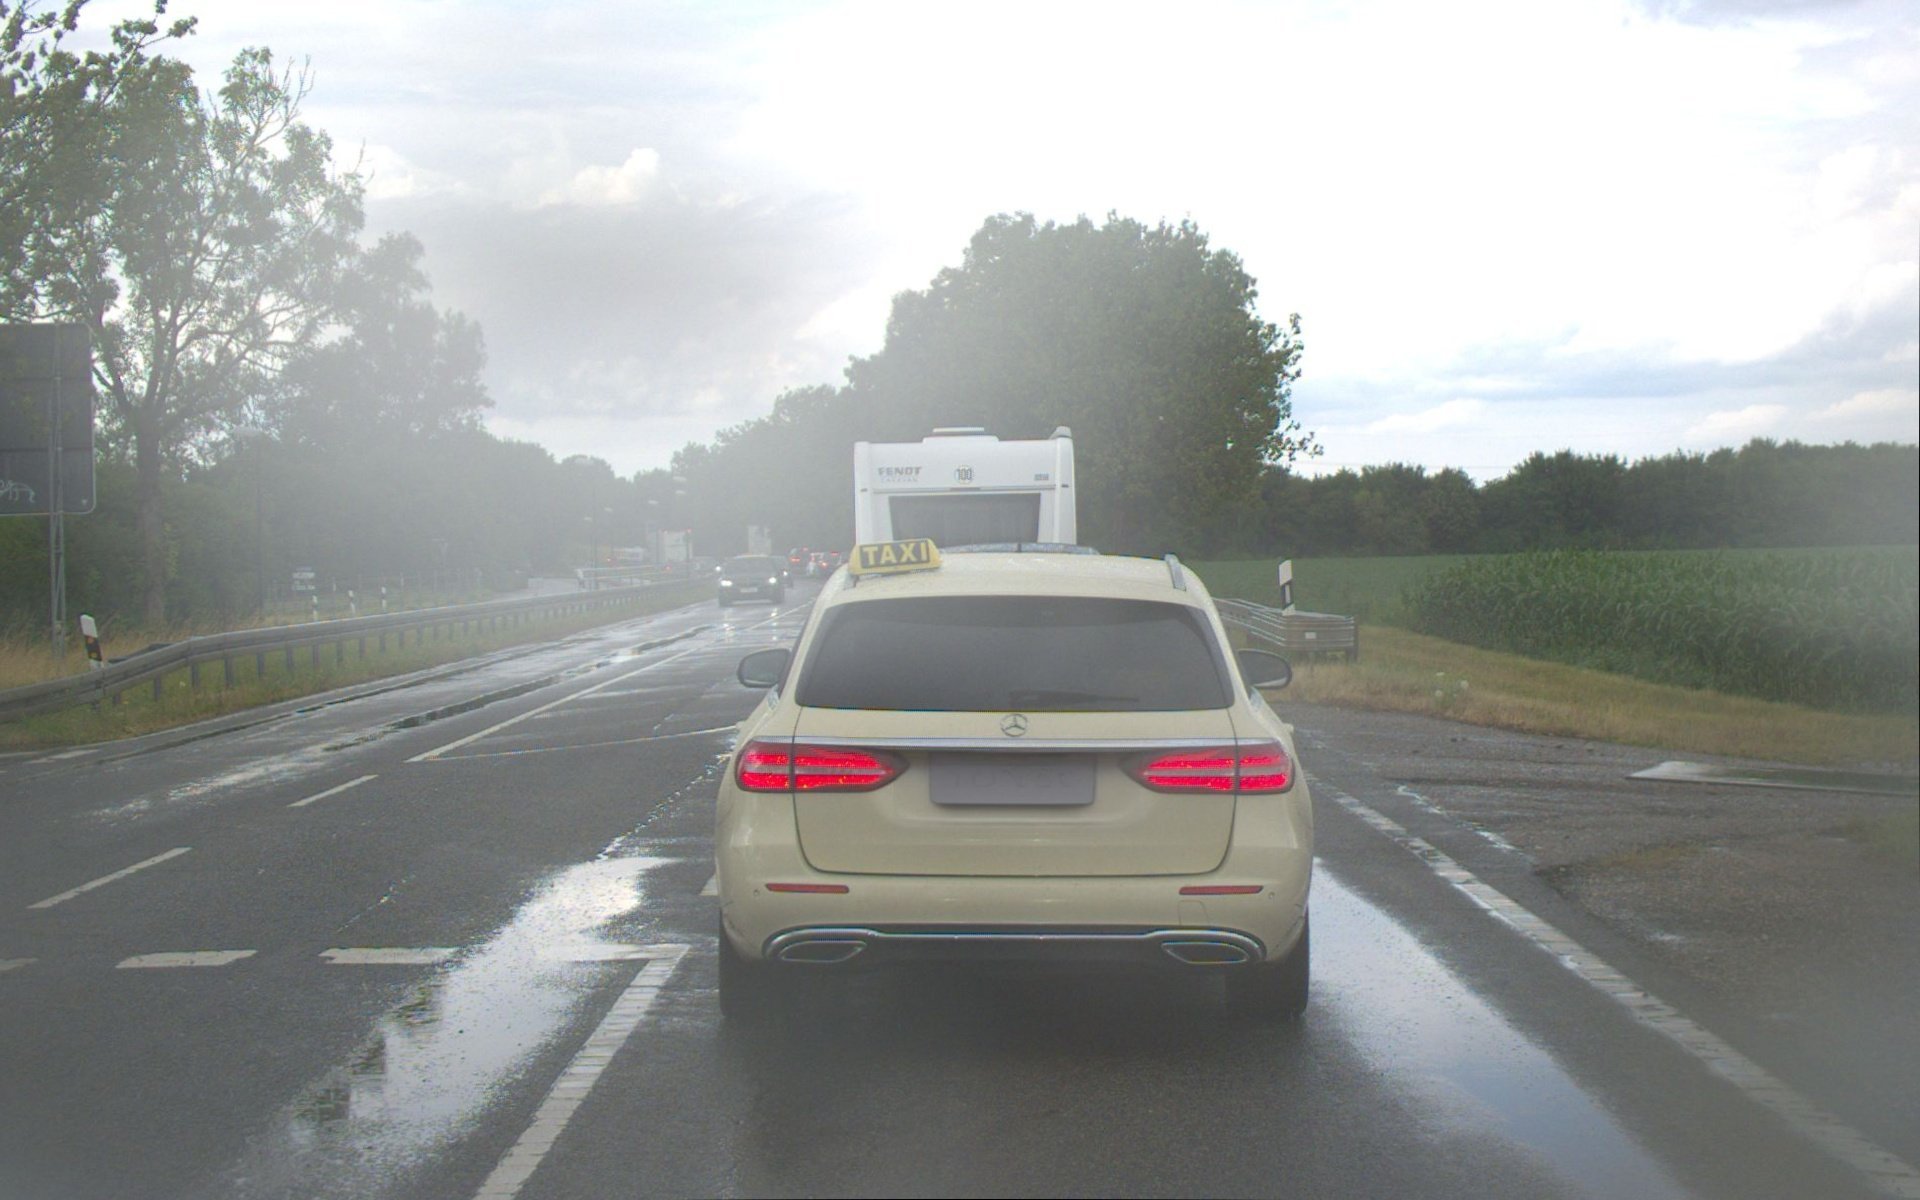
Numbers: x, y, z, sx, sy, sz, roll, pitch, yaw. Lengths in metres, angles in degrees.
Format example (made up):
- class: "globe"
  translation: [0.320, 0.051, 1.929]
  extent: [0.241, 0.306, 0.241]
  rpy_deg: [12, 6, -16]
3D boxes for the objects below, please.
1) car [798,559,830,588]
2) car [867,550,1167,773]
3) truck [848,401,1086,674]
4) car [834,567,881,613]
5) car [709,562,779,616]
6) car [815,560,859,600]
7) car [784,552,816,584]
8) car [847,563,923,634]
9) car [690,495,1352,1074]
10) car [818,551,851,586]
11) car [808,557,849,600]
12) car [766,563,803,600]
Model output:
- class: "car"
  translation: [-8.546, -1.540, 201.002]
  extent: [1.748, 1.656, 3.673]
  rpy_deg: [-1, 1, -5]
- class: "car"
  translation: [0.363, 0.390, 25.241]
  extent: [1.993, 1.457, 4.000]
  rpy_deg: [2, 1, -1]
- class: "truck"
  translation: [0.034, -0.702, 38.494]
  extent: [2.363, 2.719, 7.315]
  rpy_deg: [-1, 1, -1]
- class: "car"
  translation: [-4.137, -0.419, 138.865]
  extent: [1.791, 1.771, 3.721]
  rpy_deg: [-1, 1, -1]
- class: "car"
  translation: [-6.454, -0.351, 103.033]
  extent: [1.828, 1.568, 4.000]
  rpy_deg: [1, 1, 0]
- class: "car"
  translation: [-5.639, -0.939, 157.614]
  extent: [1.879, 1.755, 3.834]
  rpy_deg: [-1, 1, -1]
- class: "car"
  translation: [-9.740, -1.969, 209.215]
  extent: [1.895, 1.888, 3.844]
  rpy_deg: [-1, 1, -3]
- class: "car"
  translation: [-2.020, -0.058, 93.829]
  extent: [1.915, 1.834, 3.796]
  rpy_deg: [-1, 1, 1]
- class: "car"
  translation: [0.149, 0.487, 11.617]
  extent: [1.842, 1.612, 4.000]
  rpy_deg: [0, 1, -1]
- class: "car"
  translation: [-6.986, -1.779, 191.435]
  extent: [1.740, 1.853, 3.785]
  rpy_deg: [-1, 1, -1]
- class: "car"
  translation: [-6.355, -1.070, 166.228]
  extent: [1.852, 2.007, 3.811]
  rpy_deg: [-1, 1, -1]
- class: "car"
  translation: [-8.104, -0.850, 158.704]
  extent: [1.580, 1.634, 3.442]
  rpy_deg: [-1, 1, -1]
